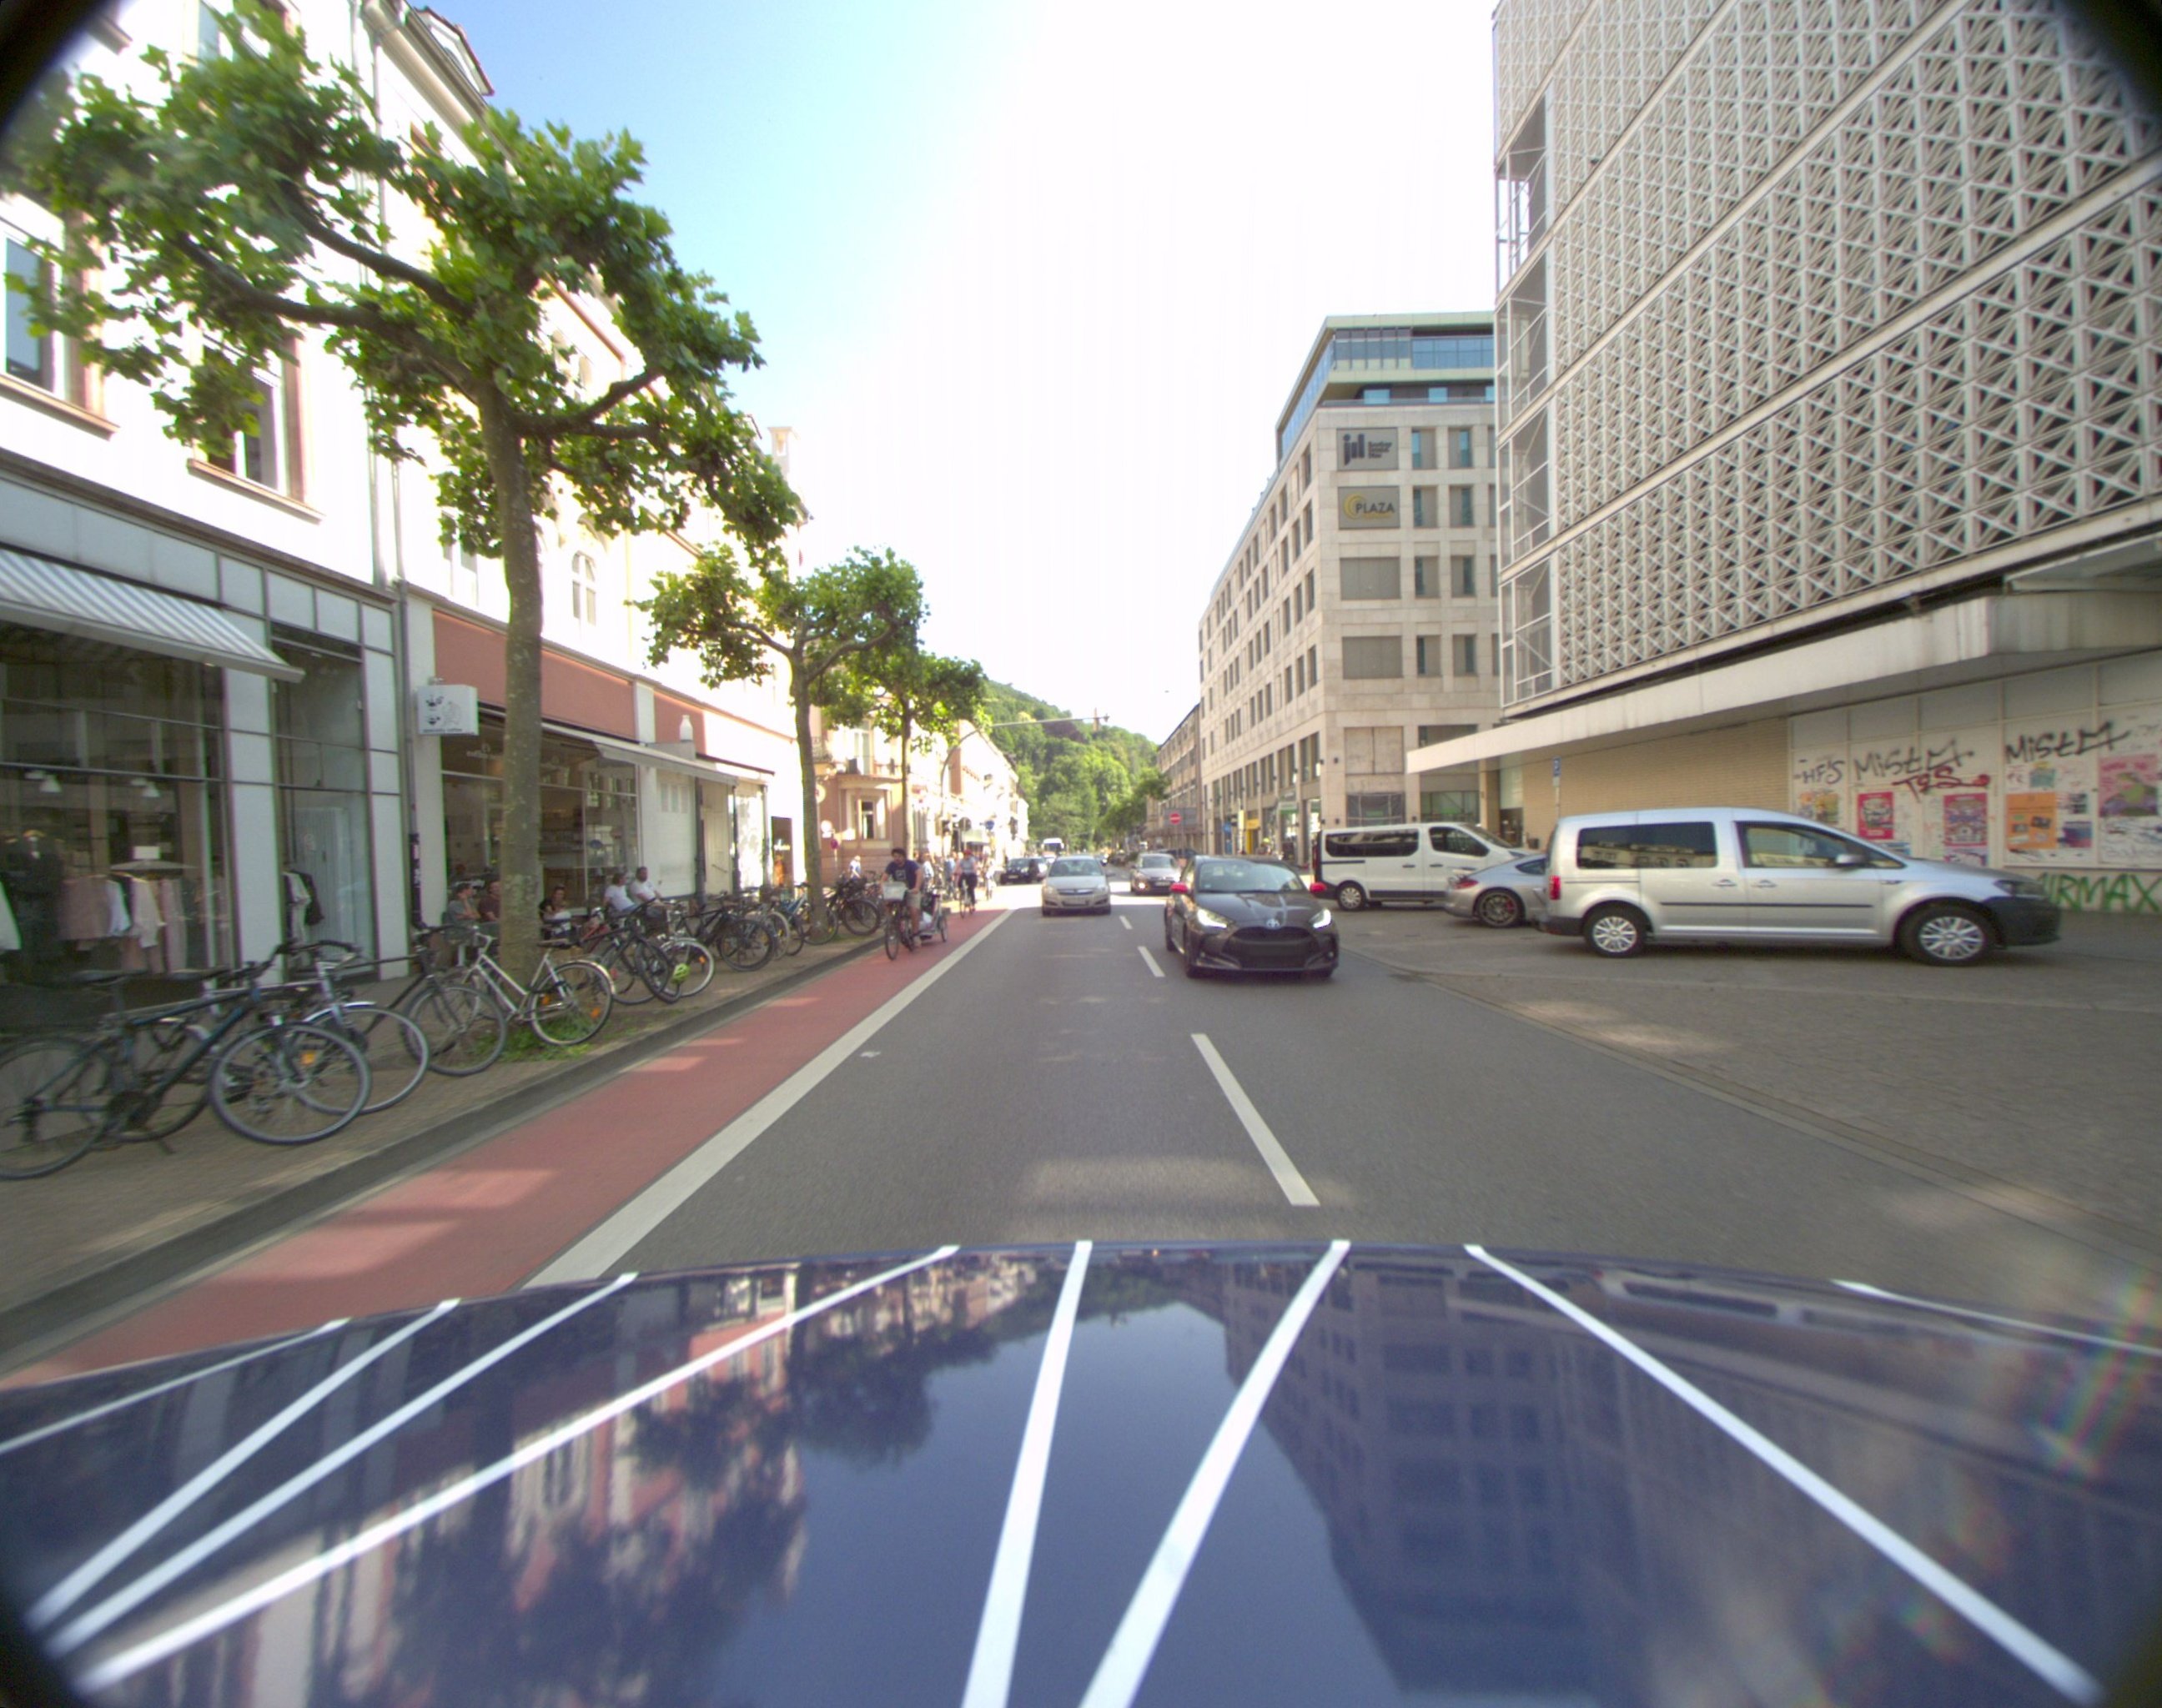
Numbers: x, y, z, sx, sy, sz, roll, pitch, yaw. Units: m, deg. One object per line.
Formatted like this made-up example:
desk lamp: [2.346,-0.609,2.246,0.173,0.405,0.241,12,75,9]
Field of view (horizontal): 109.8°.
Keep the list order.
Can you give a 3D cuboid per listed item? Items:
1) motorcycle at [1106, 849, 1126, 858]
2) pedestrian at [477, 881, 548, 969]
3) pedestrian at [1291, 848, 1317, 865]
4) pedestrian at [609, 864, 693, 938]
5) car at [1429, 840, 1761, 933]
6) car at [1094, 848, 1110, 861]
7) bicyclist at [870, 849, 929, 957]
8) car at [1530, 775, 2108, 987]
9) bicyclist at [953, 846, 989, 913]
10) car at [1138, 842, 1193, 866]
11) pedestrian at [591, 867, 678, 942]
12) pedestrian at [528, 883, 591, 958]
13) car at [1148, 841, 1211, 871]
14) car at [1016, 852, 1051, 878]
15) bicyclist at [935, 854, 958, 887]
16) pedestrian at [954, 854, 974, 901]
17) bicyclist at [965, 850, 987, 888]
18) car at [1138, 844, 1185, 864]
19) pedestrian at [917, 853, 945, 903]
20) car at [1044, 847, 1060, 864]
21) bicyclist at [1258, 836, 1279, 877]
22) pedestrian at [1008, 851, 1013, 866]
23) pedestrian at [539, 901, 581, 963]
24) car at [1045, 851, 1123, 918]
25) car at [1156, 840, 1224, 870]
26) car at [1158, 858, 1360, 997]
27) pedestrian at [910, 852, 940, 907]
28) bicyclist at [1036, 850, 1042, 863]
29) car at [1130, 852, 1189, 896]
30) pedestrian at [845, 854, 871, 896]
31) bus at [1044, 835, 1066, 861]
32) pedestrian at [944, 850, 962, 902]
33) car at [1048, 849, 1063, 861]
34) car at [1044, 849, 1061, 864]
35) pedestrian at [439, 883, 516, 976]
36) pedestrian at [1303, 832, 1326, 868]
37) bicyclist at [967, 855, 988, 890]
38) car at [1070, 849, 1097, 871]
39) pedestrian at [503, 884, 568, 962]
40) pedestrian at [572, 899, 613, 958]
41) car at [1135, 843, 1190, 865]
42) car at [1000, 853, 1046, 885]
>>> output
motorcycle: [5.003,-0.051,109.532,0.980,1.343,3.094,-2,1,-43]
pedestrian: [-9.030,1.110,12.085,0.683,1.330,0.531,-2,1,-2]
pedestrian: [13.007,0.145,44.366,1.253,0.920,0.841,-2,1,-1]
pedestrian: [-9.185,0.984,16.267,1.255,1.475,0.837,-2,2,-2]
car: [8.350,0.564,12.787,4.288,1.279,1.974,-3,1,31]
car: [2.452,0.056,90.531,1.734,1.389,4.106,-2,1,0]
bicyclist: [-2.893,0.754,12.189,0.733,1.664,0.774,-1,1,-1]
car: [7.990,0.287,8.927,4.434,1.898,2.013,-2,0,37]
bicyclist: [-2.897,0.651,20.052,0.684,1.707,0.844,-3,2,5]
car: [7.144,0.005,64.277,4.029,1.584,1.822,-6,1,33]
pedestrian: [-9.028,1.011,15.406,1.236,1.414,0.789,-1,2,-2]
pedestrian: [-9.069,1.143,13.229,0.641,1.246,0.608,0,2,-2]
car: [6.988,0.135,53.782,4.166,1.627,2.103,-5,1,8]
car: [-2.934,0.645,47.897,1.957,1.417,4.885,-4,1,-1]
bicyclist: [-5.744,0.710,32.540,0.861,1.403,0.501,-1,1,1]
pedestrian: [-4.479,0.893,29.156,0.641,1.700,0.789,-2,3,-3]
bicyclist: [-4.803,0.687,34.827,0.840,1.707,0.844,-1,1,0]
car: [7.489,-0.017,70.782,3.997,1.520,1.819,-5,3,-1]
pedestrian: [-5.180,0.832,26.277,0.789,1.681,0.641,-3,1,-2]
car: [-3.653,0.217,94.743,1.703,1.901,4.606,-6,0,-2]
bicyclist: [9.223,0.122,37.454,0.843,1.949,1.017,-2,1,6]
pedestrian: [-8.363,0.524,90.029,0.482,1.659,0.868,-1,1,0]
pedestrian: [-8.527,1.271,12.445,0.342,0.962,0.437,-2,1,2]
car: [-0.014,0.717,20.192,1.791,1.484,4.366,-2,1,-2]
car: [7.227,0.065,50.372,4.025,1.593,1.961,-4,2,23]
car: [2.133,0.810,10.268,1.868,1.469,4.107,-1,0,2]
pedestrian: [-5.229,0.851,25.454,0.789,1.784,0.641,-3,1,-2]
bicyclist: [-5.712,0.301,103.564,0.747,1.693,1.036,-1,1,0]
car: [2.744,0.657,27.405,1.734,1.389,4.106,-2,1,1]
pedestrian: [-8.869,0.838,30.223,0.640,1.648,0.791,-2,-1,13]
bus: [-3.734,-0.908,110.631,2.924,3.516,12.495,-1,1,-2]
pedestrian: [-4.491,0.753,26.623,0.453,1.784,0.607,-3,1,-2]
car: [-3.331,0.114,99.759,1.869,1.479,4.413,-2,0,-2]
car: [-3.305,0.270,89.042,1.799,1.516,4.262,-5,1,-2]
pedestrian: [-9.111,1.127,11.489,0.683,1.325,0.531,-2,1,-2]
pedestrian: [12.682,-0.224,41.305,0.840,1.868,0.844,-6,1,0]
bicyclist: [-5.102,0.897,37.558,0.910,1.707,0.844,-1,2,0]
car: [0.140,0.409,51.881,1.775,1.469,4.106,0,0,0]
pedestrian: [-9.057,1.130,12.630,0.683,1.246,0.531,-1,1,-2]
pedestrian: [-8.424,1.273,13.111,0.365,0.962,0.437,-2,1,2]
car: [7.281,-0.006,67.784,4.493,1.424,1.865,-7,1,20]
car: [-3.138,0.783,41.809,1.631,1.470,3.732,-2,2,9]
